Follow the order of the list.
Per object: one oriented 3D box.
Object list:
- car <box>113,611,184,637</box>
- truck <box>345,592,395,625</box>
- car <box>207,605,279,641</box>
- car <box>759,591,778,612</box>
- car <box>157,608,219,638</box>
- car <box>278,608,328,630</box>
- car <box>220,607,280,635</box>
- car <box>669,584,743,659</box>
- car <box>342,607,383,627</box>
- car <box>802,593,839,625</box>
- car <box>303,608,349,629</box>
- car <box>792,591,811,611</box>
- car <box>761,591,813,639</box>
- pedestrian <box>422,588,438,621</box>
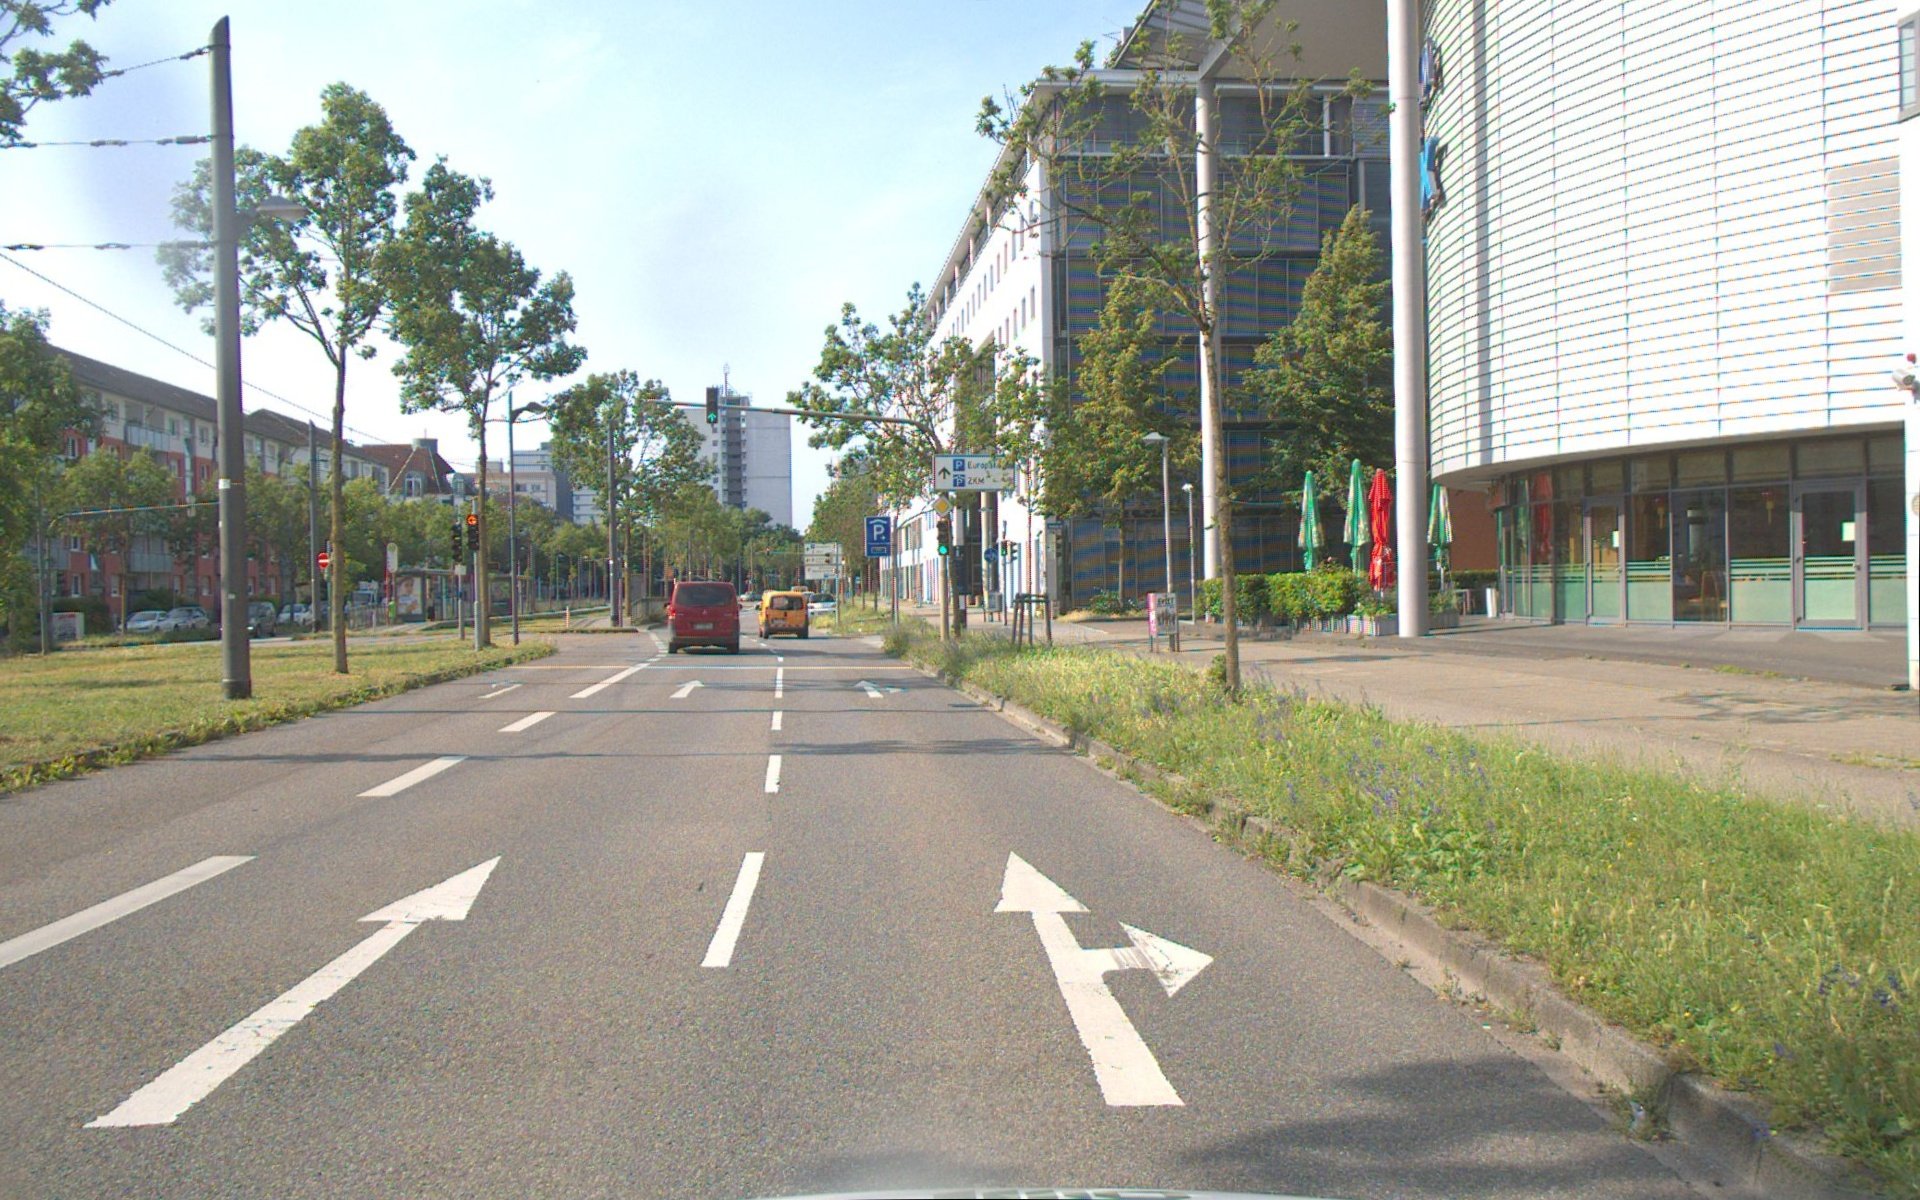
[{"bbox_3d":[-39.309,1.152,80.204,1.798,1.168,4.158,1,0,-7],"label":"car"},{"bbox_3d":[-48.335,0.685,135.659,2.321,2.607,7.230,-1,0,-7],"label":"truck"},{"bbox_3d":[-35.975,1.139,83.093,1.955,1.736,4.707,-1,0,-5],"label":"car"},{"bbox_3d":[-19.740,0.147,170.525,1.956,2.049,3.993,-1,0,-7],"label":"car"},{"bbox_3d":[-40.091,1.165,85.998,1.798,1.497,3.821,1,0,-7],"label":"car"},{"bbox_3d":[-42.005,1.216,105.780,1.943,1.384,4.063,1,0,-7],"label":"car"},{"bbox_3d":[-41.137,1.190,95.945,1.943,1.583,4.530,1,0,-7],"label":"car"},{"bbox_3d":[-6.765,0.541,44.329,1.839,1.886,3.993,-1,0,-7],"label":"car"},{"bbox_3d":[-43.562,1.254,120.620,1.943,1.384,4.063,1,0,-7],"label":"car"},{"bbox_3d":[-6.985,0.432,82.408,1.688,1.545,3.775,-1,0,-7],"label":"car"},{"bbox_3d":[-42.534,1.230,111.067,1.943,1.384,4.063,1,0,-7],"label":"car"},{"bbox_3d":[-16.500,0.111,171.904,1.955,2.049,3.995,-1,0,-6],"label":"car"},{"bbox_3d":[-6.421,0.536,61.410,1.839,1.726,3.969,-1,0,-6],"label":"car"},{"bbox_3d":[-27.587,0.249,86.026,0.659,1.682,0.792,-1,0,-11],"label":"pedestrian"}]
